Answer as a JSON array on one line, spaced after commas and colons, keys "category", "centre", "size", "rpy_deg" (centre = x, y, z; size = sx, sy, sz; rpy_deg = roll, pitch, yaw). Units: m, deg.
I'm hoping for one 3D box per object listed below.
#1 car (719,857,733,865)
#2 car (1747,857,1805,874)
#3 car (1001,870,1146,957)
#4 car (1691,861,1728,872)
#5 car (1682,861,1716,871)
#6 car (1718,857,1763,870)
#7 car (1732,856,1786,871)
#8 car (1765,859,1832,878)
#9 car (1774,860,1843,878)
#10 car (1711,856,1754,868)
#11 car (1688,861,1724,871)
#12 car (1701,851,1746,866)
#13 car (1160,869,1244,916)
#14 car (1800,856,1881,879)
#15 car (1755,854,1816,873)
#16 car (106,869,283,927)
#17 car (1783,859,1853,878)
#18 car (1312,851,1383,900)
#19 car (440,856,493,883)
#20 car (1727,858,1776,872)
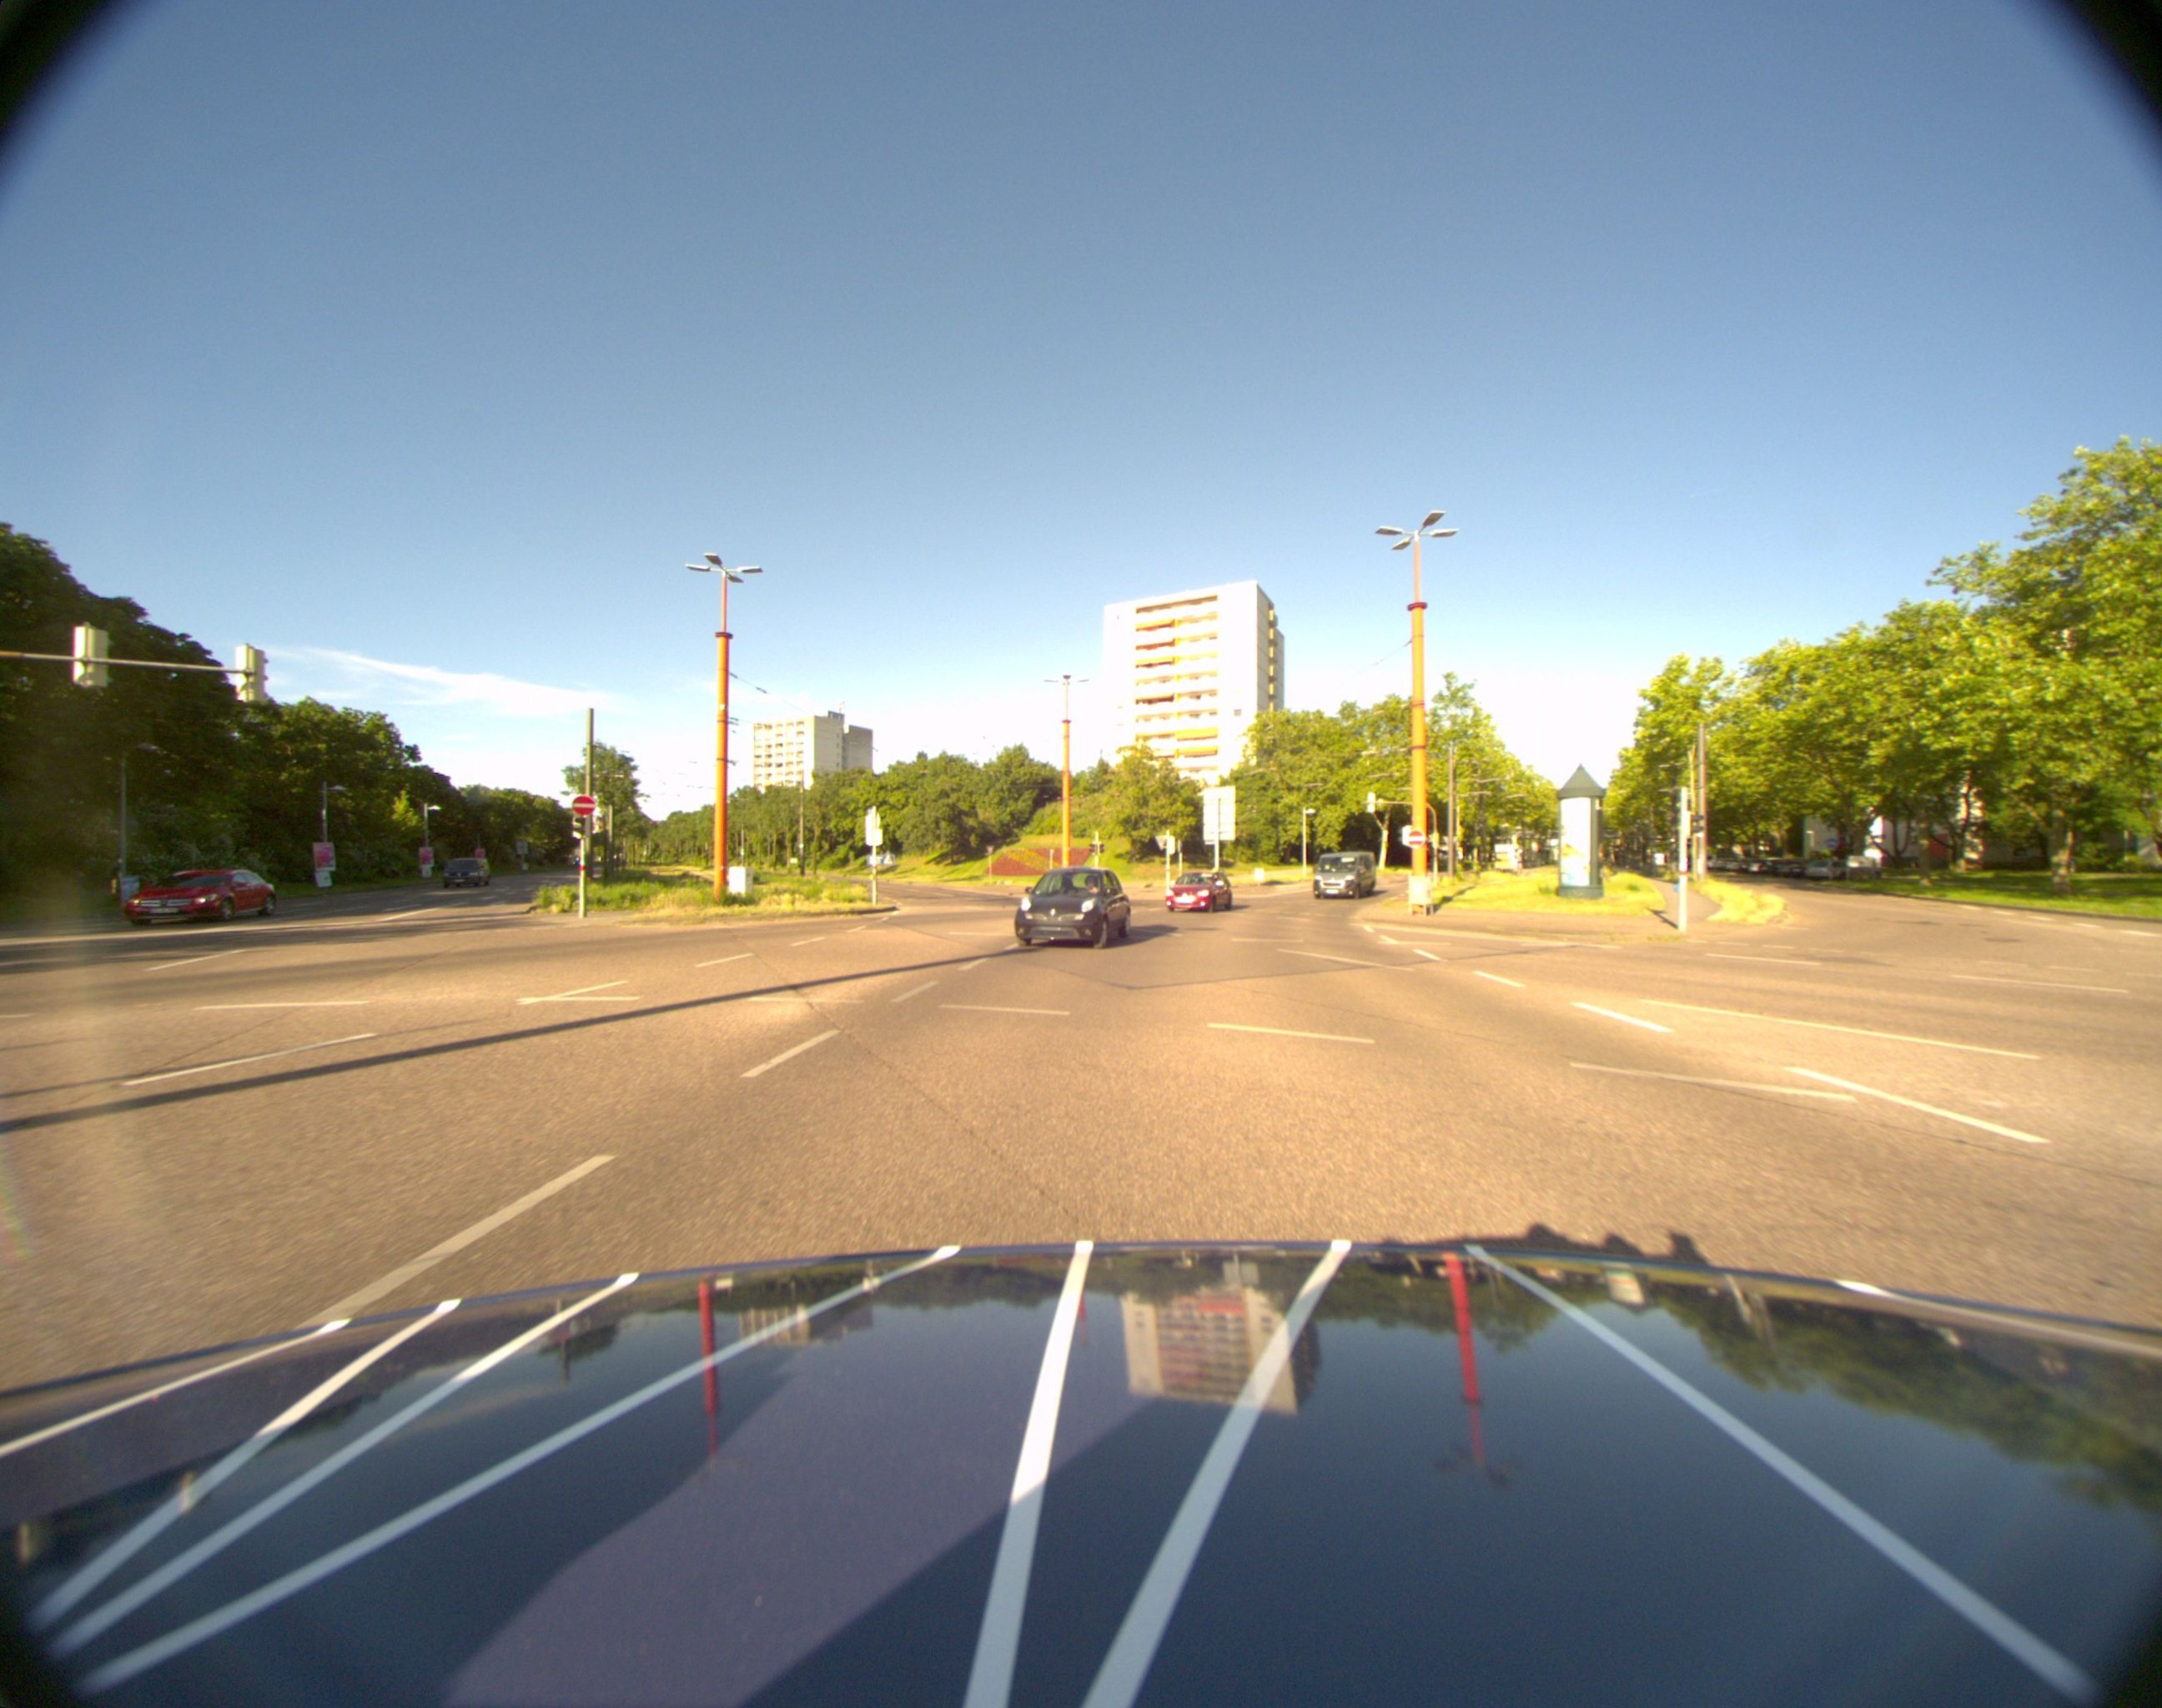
[{"category": "car", "centre": [-69.503, 1.380, 148.645], "size": [2.003, 1.694, 4.682], "rpy_deg": [0, 0, -30]}, {"category": "car", "centre": [65.634, 1.087, 71.799], "size": [4.048, 1.490, 1.795], "rpy_deg": [0, -1, -6]}, {"category": "car", "centre": [0.036, 1.082, 15.613], "size": [1.737, 1.473, 4.629], "rpy_deg": [0, -1, 16]}, {"category": "car", "centre": [88.975, 1.714, 107.603], "size": [4.050, 1.490, 1.794], "rpy_deg": [0, -1, -9]}, {"category": "car", "centre": [94.876, 1.799, 116.600], "size": [4.050, 1.490, 1.794], "rpy_deg": [0, -1, -9]}, {"category": "car", "centre": [77.411, 1.141, 89.254], "size": [4.050, 1.490, 1.794], "rpy_deg": [0, -1, -9]}, {"category": "car", "centre": [67.246, 0.936, 75.382], "size": [4.048, 1.490, 1.795], "rpy_deg": [0, -1, -6]}, {"category": "car", "centre": [59.538, 1.220, 63.073], "size": [4.048, 1.490, 1.795], "rpy_deg": [0, -1, -6]}, {"category": "car", "centre": [57.859, 1.212, 60.454], "size": [4.049, 1.379, 1.795], "rpy_deg": [0, -1, -8]}, {"category": "car", "centre": [81.103, 0.981, 94.601], "size": [4.050, 1.490, 1.794], "rpy_deg": [0, -1, -9]}, {"category": "car", "centre": [90.836, 1.742, 110.431], "size": [4.050, 1.490, 1.794], "rpy_deg": [0, -1, -9]}, {"category": "car", "centre": [82.275, 0.609, 97.280], "size": [4.432, 1.907, 2.020], "rpy_deg": [0, -1, -9]}, {"category": "car", "centre": [4.494, 1.319, 27.646], "size": [1.769, 1.549, 4.735], "rpy_deg": [0, -1, 25]}, {"category": "car", "centre": [52.059, 0.926, 52.113], "size": [4.049, 1.477, 1.814], "rpy_deg": [0, -1, -8]}, {"category": "car", "centre": [63.791, 0.905, 68.811], "size": [4.048, 1.654, 1.795], "rpy_deg": [0, -1, -6]}, {"category": "car", "centre": [-25.803, 1.214, 22.354], "size": [2.003, 1.486, 4.279], "rpy_deg": [1, -1, -29]}, {"category": "car", "centre": [55.824, 1.117, 57.599], "size": [4.049, 1.379, 1.677], "rpy_deg": [0, -1, -8]}, {"category": "car", "centre": [13.139, 0.989, 37.226], "size": [2.035, 2.191, 5.673], "rpy_deg": [0, 0, 33]}, {"category": "car", "centre": [-41.944, 1.029, 51.988], "size": [2.003, 1.722, 4.807], "rpy_deg": [1, -1, -29]}, {"category": "car", "centre": [71.722, 1.207, 81.274], "size": [4.050, 1.490, 1.794], "rpy_deg": [0, -1, -9]}]
